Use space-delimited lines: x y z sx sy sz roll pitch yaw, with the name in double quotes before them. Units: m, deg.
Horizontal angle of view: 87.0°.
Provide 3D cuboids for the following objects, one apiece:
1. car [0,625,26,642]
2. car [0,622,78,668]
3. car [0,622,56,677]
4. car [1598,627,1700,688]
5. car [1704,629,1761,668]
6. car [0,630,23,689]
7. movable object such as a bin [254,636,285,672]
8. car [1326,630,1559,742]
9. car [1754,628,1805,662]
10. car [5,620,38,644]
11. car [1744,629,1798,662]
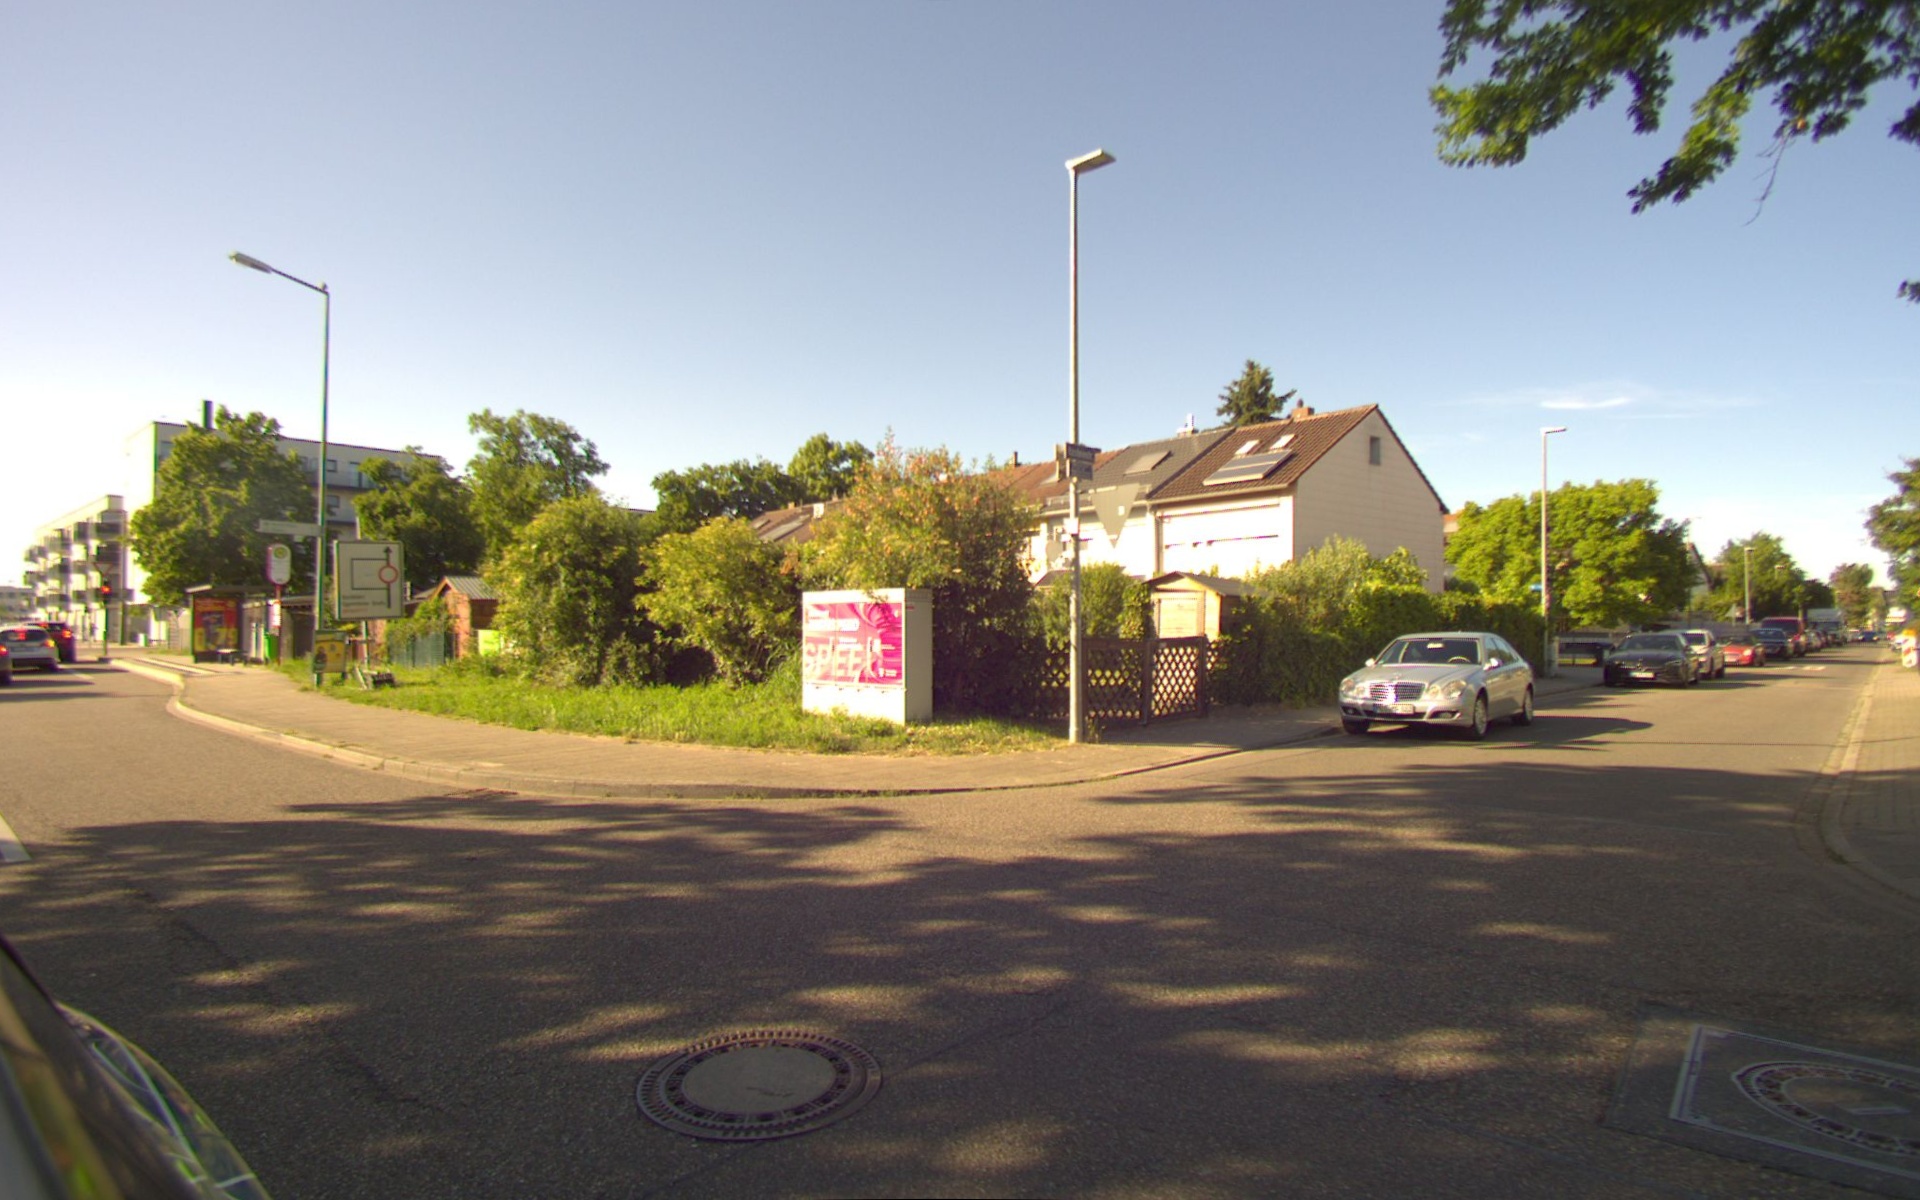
"car" -98.138 3.454 104.618 3.999 1.565 1.972 1 -1 42
"car" -34.260 1.625 37.574 4.182 1.601 1.918 -2 -2 44
"car" -30.033 1.518 31.844 2.184 1.603 4.538 1 -1 -44
"car" 18.639 1.489 27.304 1.998 1.497 3.948 -1 -2 38
"car" 32.606 1.998 42.670 1.830 1.497 3.948 1 -1 38
"car" -26.135 1.549 26.389 4.447 1.454 1.973 -2 -1 40
"movable object such as a bin" -19.827 1.537 29.073 0.558 0.975 0.586 -2 2 44
"car" 7.198 1.151 14.879 1.923 1.396 4.301 -2 -3 42
"car" 47.325 2.572 58.413 2.000 1.827 4.164 1 -1 43
"car" -86.650 2.921 93.425 4.001 2.029 1.971 1 -1 43
"car" 40.364 2.251 50.436 1.997 1.497 3.949 1 -1 38
